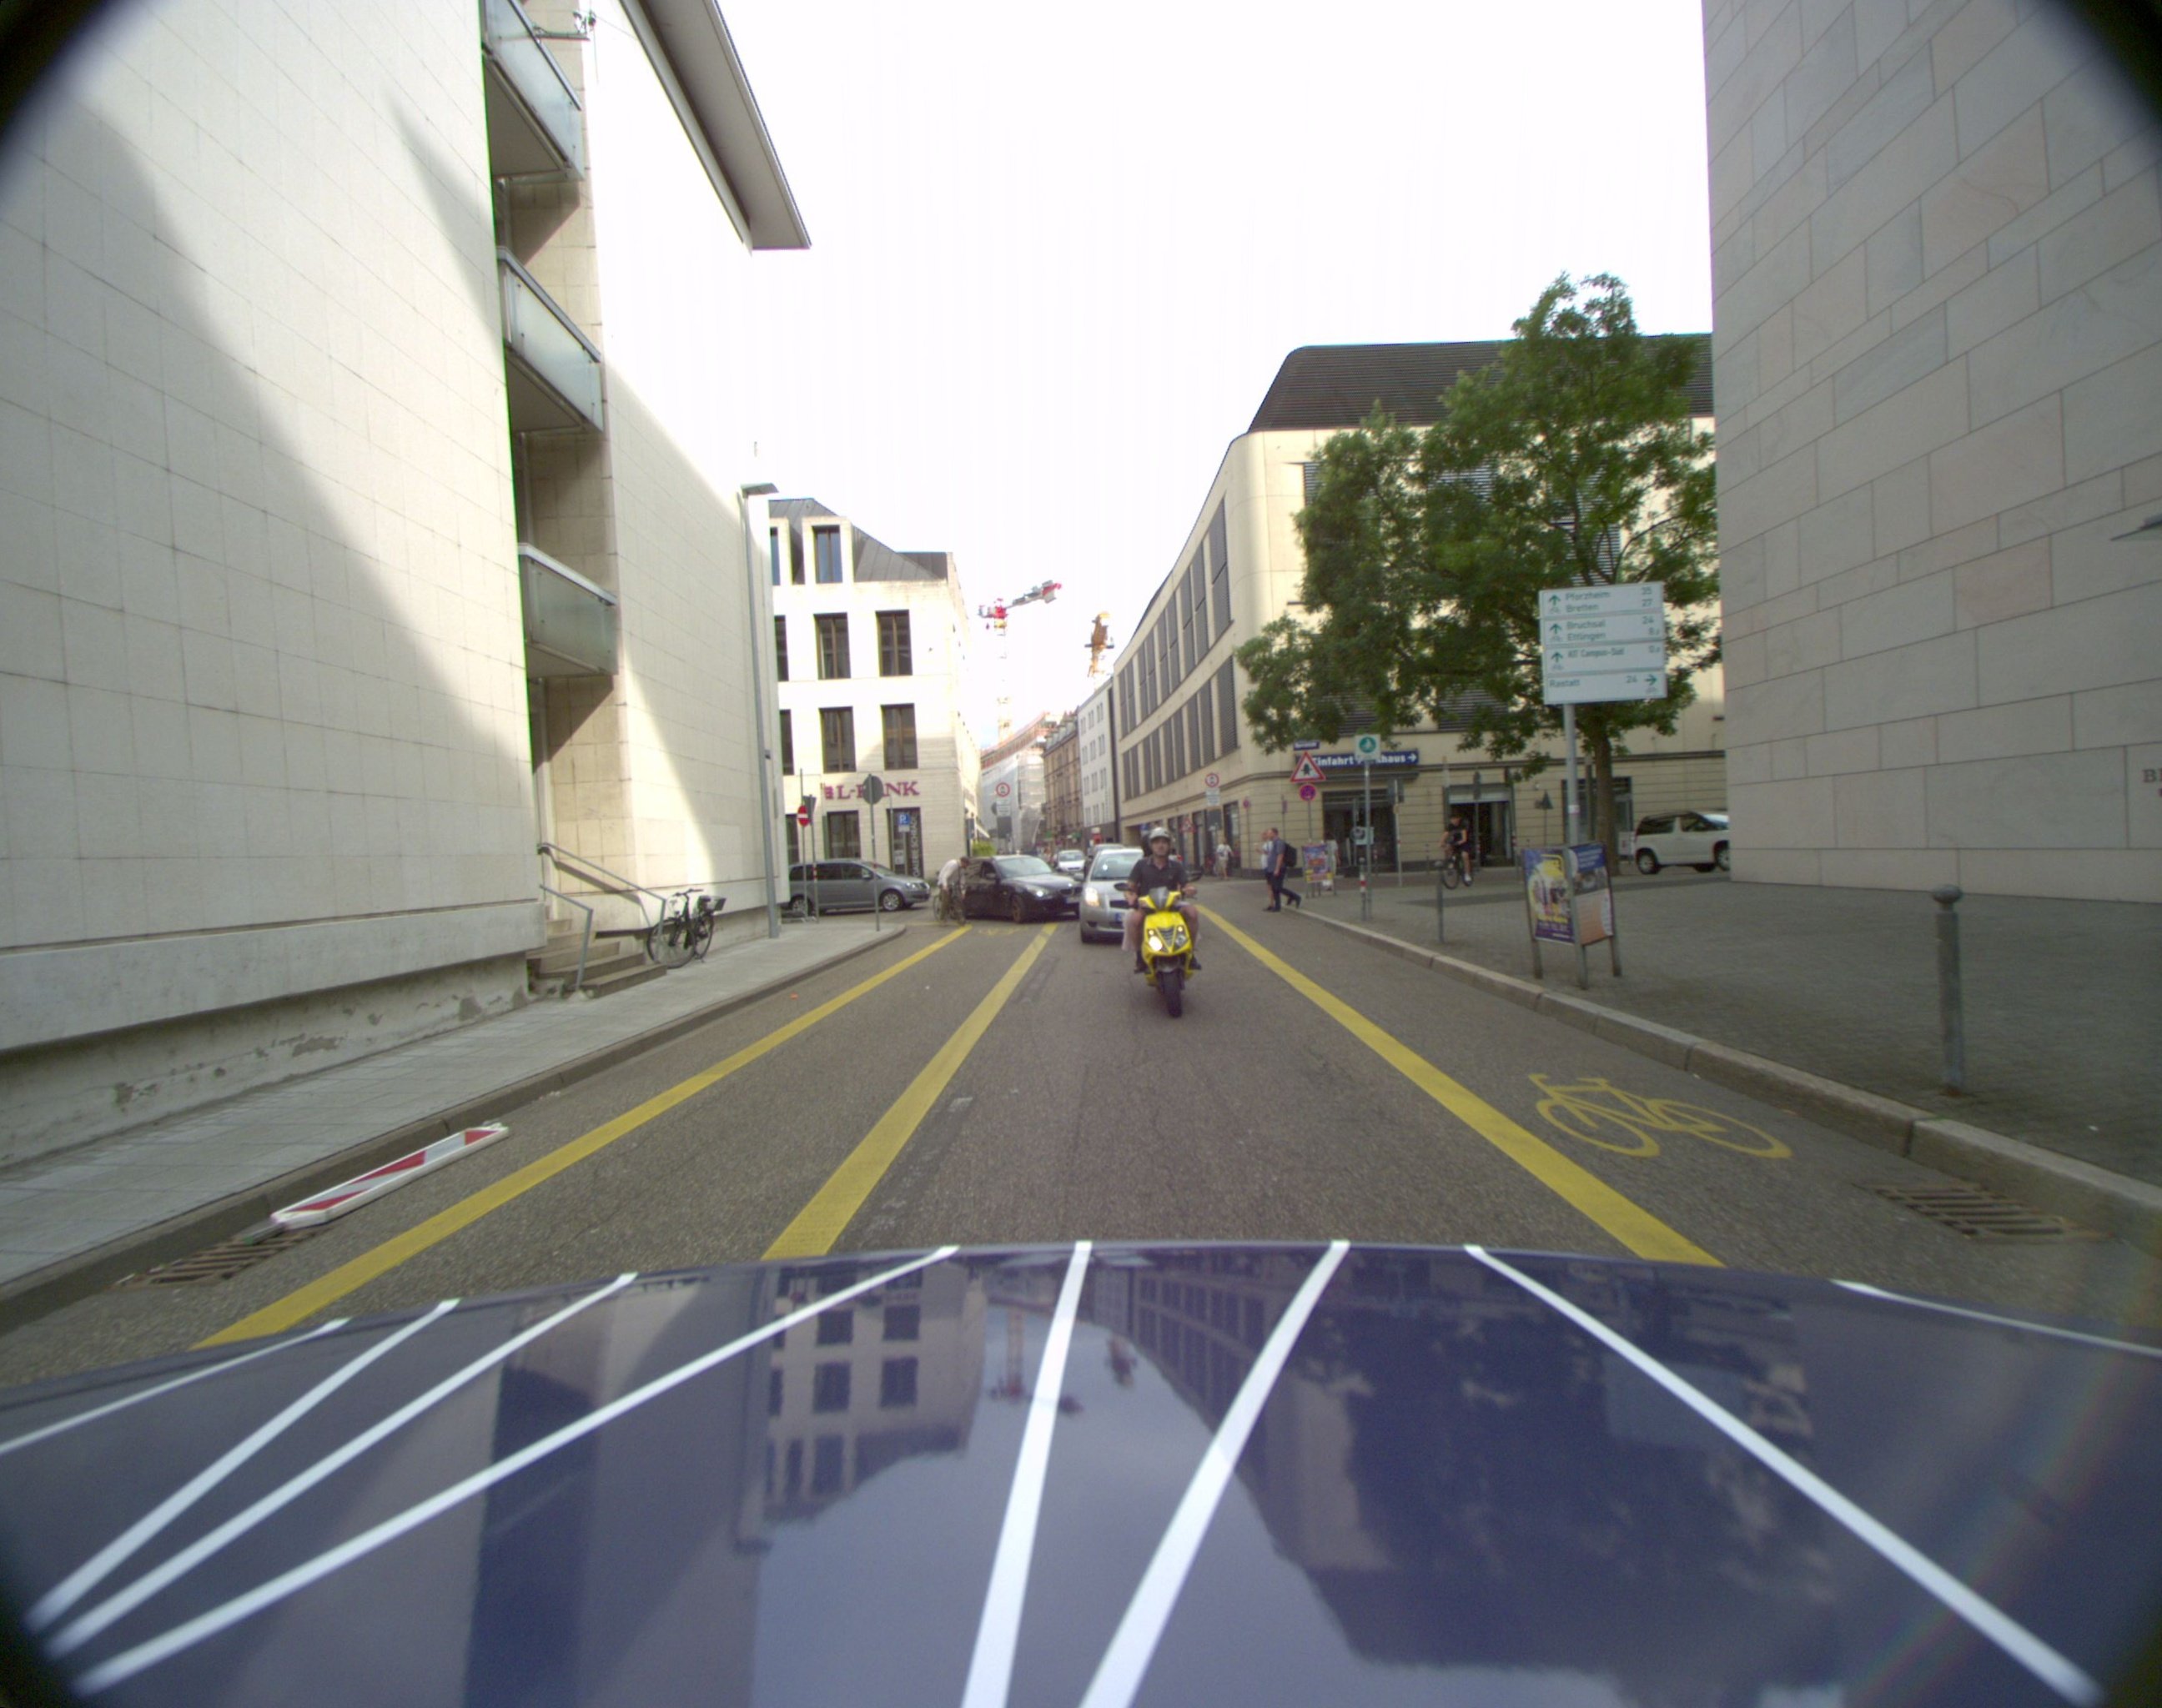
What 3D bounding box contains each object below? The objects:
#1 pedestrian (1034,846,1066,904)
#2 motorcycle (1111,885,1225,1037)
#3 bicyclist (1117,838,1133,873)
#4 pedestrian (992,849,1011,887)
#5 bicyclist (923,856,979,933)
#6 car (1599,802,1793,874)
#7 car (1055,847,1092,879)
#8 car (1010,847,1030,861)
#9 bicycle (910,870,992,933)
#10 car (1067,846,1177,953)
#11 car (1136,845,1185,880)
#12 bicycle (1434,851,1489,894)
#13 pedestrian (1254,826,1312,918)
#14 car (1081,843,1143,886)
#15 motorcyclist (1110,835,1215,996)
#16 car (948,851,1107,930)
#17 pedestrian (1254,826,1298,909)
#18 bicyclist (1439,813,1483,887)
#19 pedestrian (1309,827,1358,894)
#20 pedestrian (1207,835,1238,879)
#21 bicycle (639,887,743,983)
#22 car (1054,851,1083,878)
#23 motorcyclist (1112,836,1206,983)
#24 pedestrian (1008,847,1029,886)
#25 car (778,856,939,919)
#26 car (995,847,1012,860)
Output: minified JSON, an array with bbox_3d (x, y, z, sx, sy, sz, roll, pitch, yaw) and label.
[{"bbox_3d":[-1.021,0.679,25.188,0.774,1.820,0.860,-3,2,-18],"label":"pedestrian"},{"bbox_3d":[0.780,0.943,7.425,0.929,1.159,2.127,-1,1,3],"label":"motorcycle"},{"bbox_3d":[2.102,0.063,36.423,0.645,1.644,0.939,-1,2,-5],"label":"bicyclist"},{"bbox_3d":[-3.936,0.667,37.622,0.861,1.820,0.773,-3,2,-4],"label":"pedestrian"},{"bbox_3d":[-2.867,0.868,16.737,0.894,1.585,0.875,-4,2,-28],"label":"bicyclist"},{"bbox_3d":[16.466,-0.348,20.644,1.899,1.683,3.964,-3,-1,-2],"label":"car"},{"bbox_3d":[-0.469,0.446,40.592,1.563,1.548,4.100,-3,1,-5],"label":"car"},{"bbox_3d":[-6.846,-0.032,85.012,1.590,1.477,3.995,-3,1,-13],"label":"car"},{"bbox_3d":[-2.947,1.001,16.903,0.872,1.188,2.857,-4,2,-28],"label":"bicycle"},{"bbox_3d":[0.736,0.672,13.274,1.562,1.482,3.784,-3,1,4],"label":"car"},{"bbox_3d":[3.888,0.378,37.812,1.563,1.548,4.100,-3,1,-5],"label":"car"},{"bbox_3d":[8.667,0.412,17.268,0.600,0.829,1.728,-7,-2,42],"label":"bicycle"},{"bbox_3d":[4.224,0.362,15.949,0.745,1.804,0.756,-7,2,-10],"label":"pedestrian"},{"bbox_3d":[1.133,0.353,29.421,1.710,1.482,4.100,-3,1,-6],"label":"car"},{"bbox_3d":[0.762,0.554,7.398,0.924,1.445,1.065,-1,1,3],"label":"motorcyclist"},{"bbox_3d":[-1.301,0.756,17.057,1.720,1.482,3.755,-4,2,-37],"label":"car"},{"bbox_3d":[4.276,0.296,16.662,0.644,1.755,0.653,-3,1,-10],"label":"pedestrian"},{"bbox_3d":[8.686,-0.090,17.347,0.621,1.610,0.645,-5,1,42],"label":"bicyclist"},{"bbox_3d":[6.898,0.165,20.795,0.879,1.699,0.910,-6,2,2],"label":"pedestrian"},{"bbox_3d":[6.010,0.121,32.297,0.892,1.755,1.060,-7,2,-5],"label":"pedestrian"},{"bbox_3d":[-5.672,1.137,11.167,0.590,1.161,1.814,-3,1,-2],"label":"bicycle"},{"bbox_3d":[-0.811,0.619,47.103,1.589,1.477,3.998,-3,1,-4],"label":"car"},{"bbox_3d":[0.795,0.550,7.915,0.903,1.445,0.742,-1,1,3],"label":"motorcyclist"},{"bbox_3d":[-3.047,0.604,37.215,0.861,1.820,0.774,-3,2,2],"label":"pedestrian"},{"bbox_3d":[-6.582,0.955,22.793,4.192,1.581,1.815,-3,1,0],"label":"car"},{"bbox_3d":[-9.789,-0.107,95.413,1.590,1.477,3.995,-3,1,-13],"label":"car"}]
